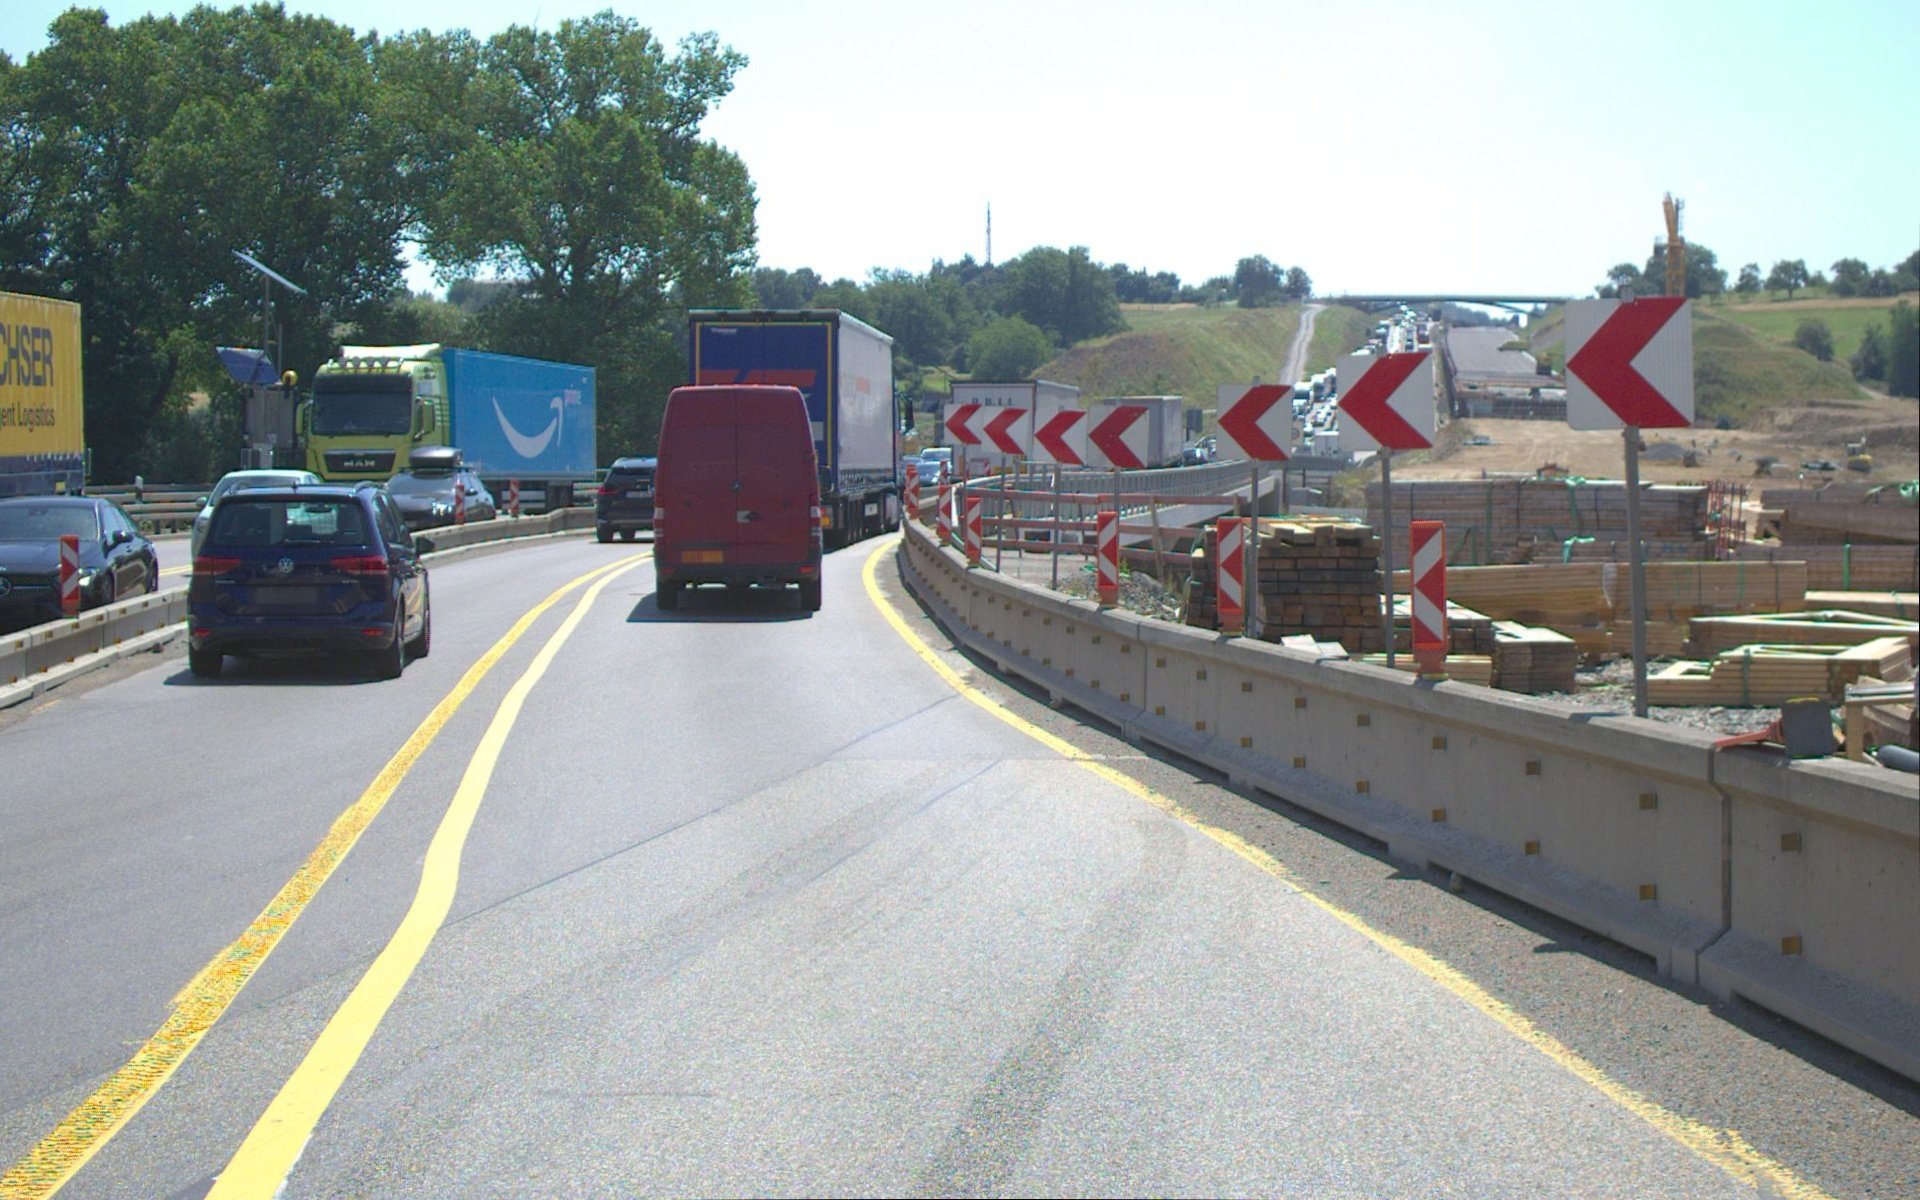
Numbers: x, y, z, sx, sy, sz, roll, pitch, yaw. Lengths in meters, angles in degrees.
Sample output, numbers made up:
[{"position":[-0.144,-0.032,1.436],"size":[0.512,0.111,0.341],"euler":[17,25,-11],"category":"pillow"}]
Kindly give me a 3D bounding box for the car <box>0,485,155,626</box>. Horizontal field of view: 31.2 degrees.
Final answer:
[{"position":[-9.753,-0.519,36.698],"size":[1.676,1.357,4.504],"euler":[0,2,-6],"category":"car"}]

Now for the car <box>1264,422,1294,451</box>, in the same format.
[{"position":[18.938,-9.686,203.993],"size":[1.618,1.694,3.889],"euler":[1,3,7],"category":"car"}]

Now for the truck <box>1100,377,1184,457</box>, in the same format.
[{"position":[8.286,-8.233,155.418],"size":[3.184,2.967,8.896],"euler":[0,-1,7],"category":"truck"}]

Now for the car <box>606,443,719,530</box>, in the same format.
[{"position":[-5.753,-2.181,66.807],"size":[1.833,1.630,4.390],"euler":[0,1,0],"category":"car"}]

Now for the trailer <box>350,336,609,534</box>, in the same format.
[{"position":[-11.239,-3.827,82.081],"size":[2.648,4.277,13.306],"euler":[2,2,7],"category":"trailer"}]

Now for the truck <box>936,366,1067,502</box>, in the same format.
[{"position":[1.327,-5.041,104.885],"size":[3.183,3.975,6.740],"euler":[0,2,8],"category":"truck"}]

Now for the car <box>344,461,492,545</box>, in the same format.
[{"position":[-9.943,-1.813,63.398],"size":[1.820,1.430,4.584],"euler":[1,3,3],"category":"car"}]

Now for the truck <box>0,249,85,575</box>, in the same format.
[{"position":[-14.053,-2.411,42.858],"size":[2.806,4.327,15.377],"euler":[1,2,-2],"category":"truck"}]

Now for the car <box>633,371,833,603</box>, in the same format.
[{"position":[-2.844,-1.334,41.906],"size":[2.149,2.602,5.440],"euler":[1,1,-6],"category":"car"}]

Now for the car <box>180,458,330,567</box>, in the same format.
[{"position":[-10.507,-1.340,51.446],"size":[1.636,1.480,4.001],"euler":[0,3,-3],"category":"car"}]

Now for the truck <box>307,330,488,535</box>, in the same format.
[{"position":[-12.157,-3.600,74.601],"size":[2.626,4.255,4.731],"euler":[2,2,6],"category":"truck"}]

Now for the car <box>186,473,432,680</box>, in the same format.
[{"position":[-5.691,-0.272,30.481],"size":[1.733,1.629,4.391],"euler":[0,3,-5],"category":"car"}]

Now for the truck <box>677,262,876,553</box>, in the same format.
[{"position":[-3.197,-3.403,61.742],"size":[2.945,4.928,6.742],"euler":[0,2,2],"category":"truck"}]
